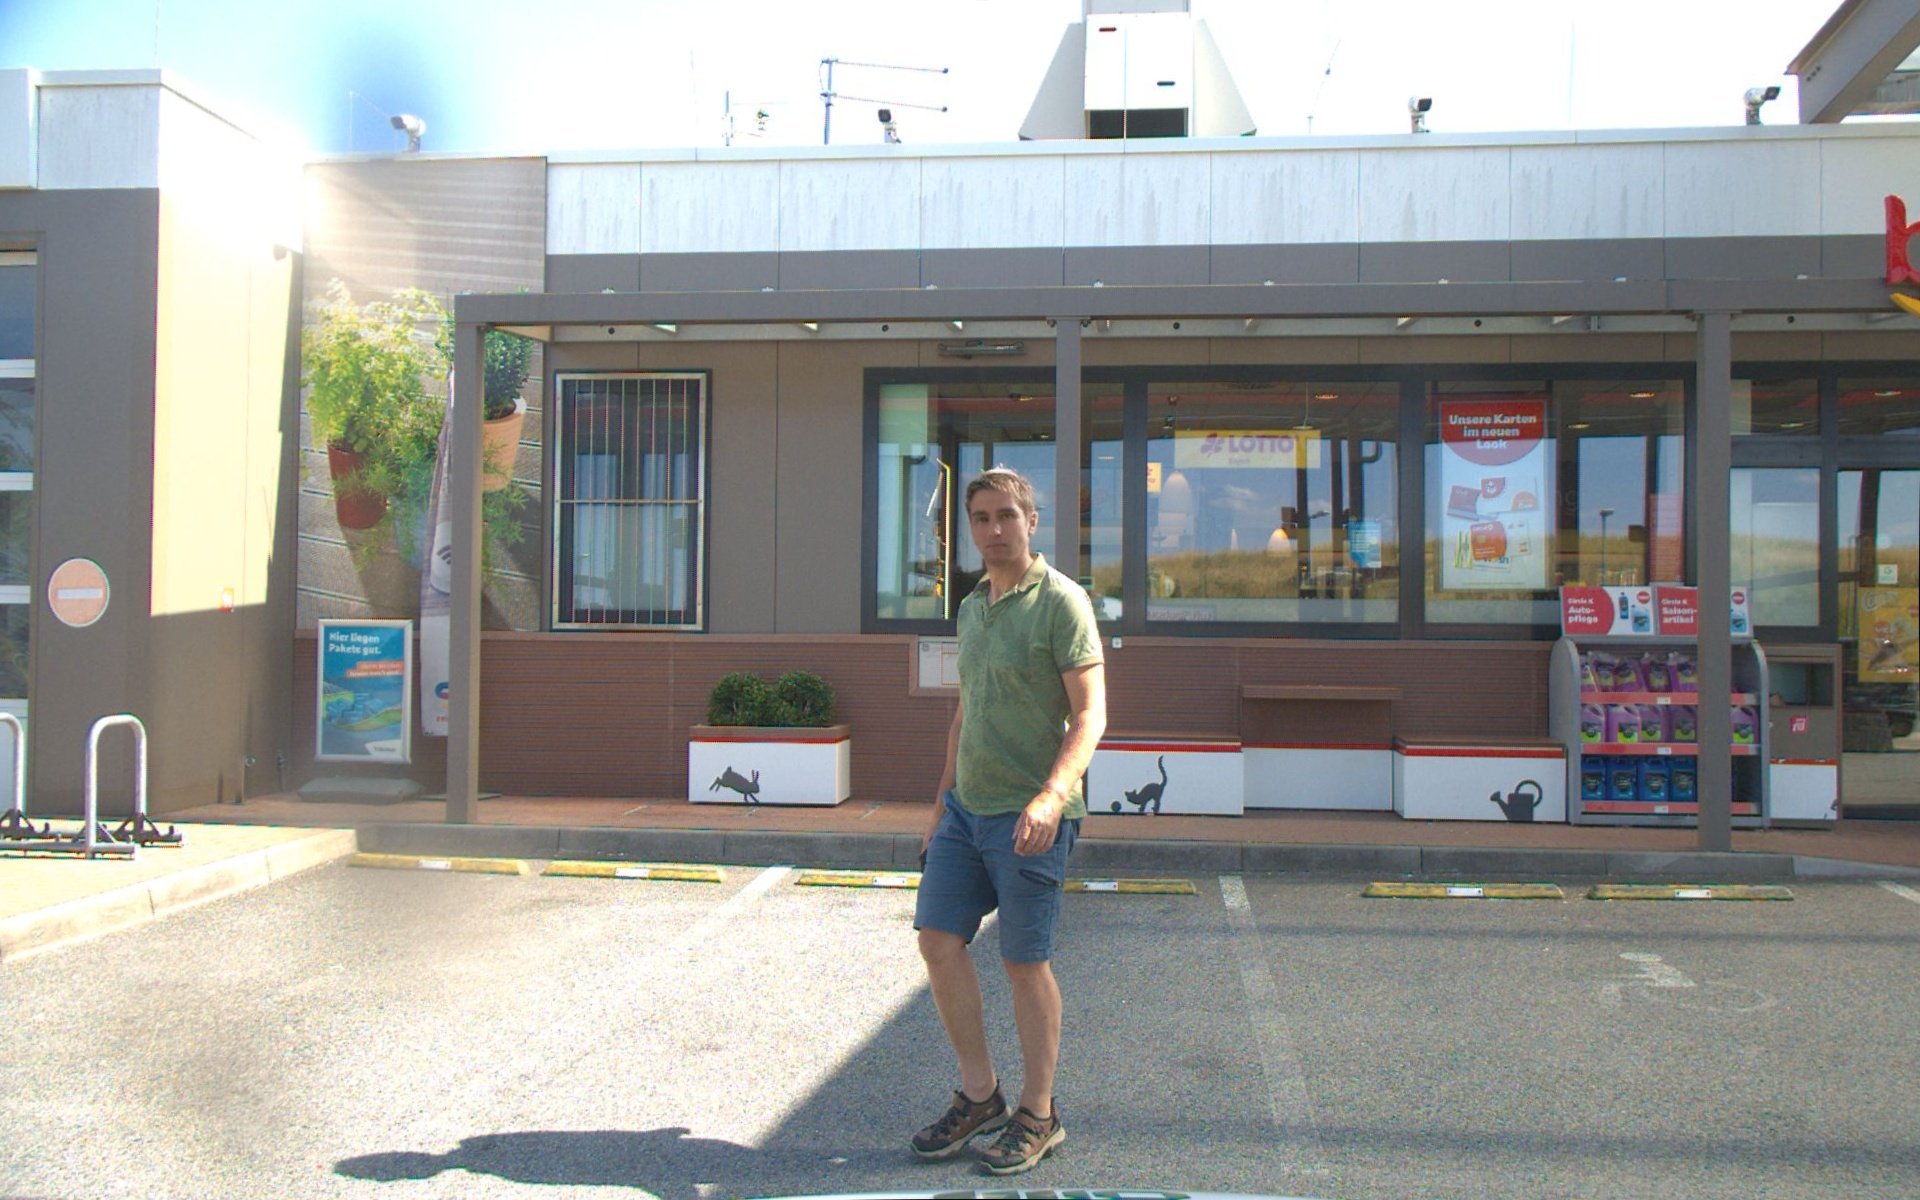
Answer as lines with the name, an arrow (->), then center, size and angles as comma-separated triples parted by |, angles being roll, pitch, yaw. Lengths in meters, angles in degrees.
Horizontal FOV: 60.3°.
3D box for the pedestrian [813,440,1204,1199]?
pedestrian -> 0.147, 0.545, 4.400 | 0.689, 1.829, 0.859 | 0, -1, 35
